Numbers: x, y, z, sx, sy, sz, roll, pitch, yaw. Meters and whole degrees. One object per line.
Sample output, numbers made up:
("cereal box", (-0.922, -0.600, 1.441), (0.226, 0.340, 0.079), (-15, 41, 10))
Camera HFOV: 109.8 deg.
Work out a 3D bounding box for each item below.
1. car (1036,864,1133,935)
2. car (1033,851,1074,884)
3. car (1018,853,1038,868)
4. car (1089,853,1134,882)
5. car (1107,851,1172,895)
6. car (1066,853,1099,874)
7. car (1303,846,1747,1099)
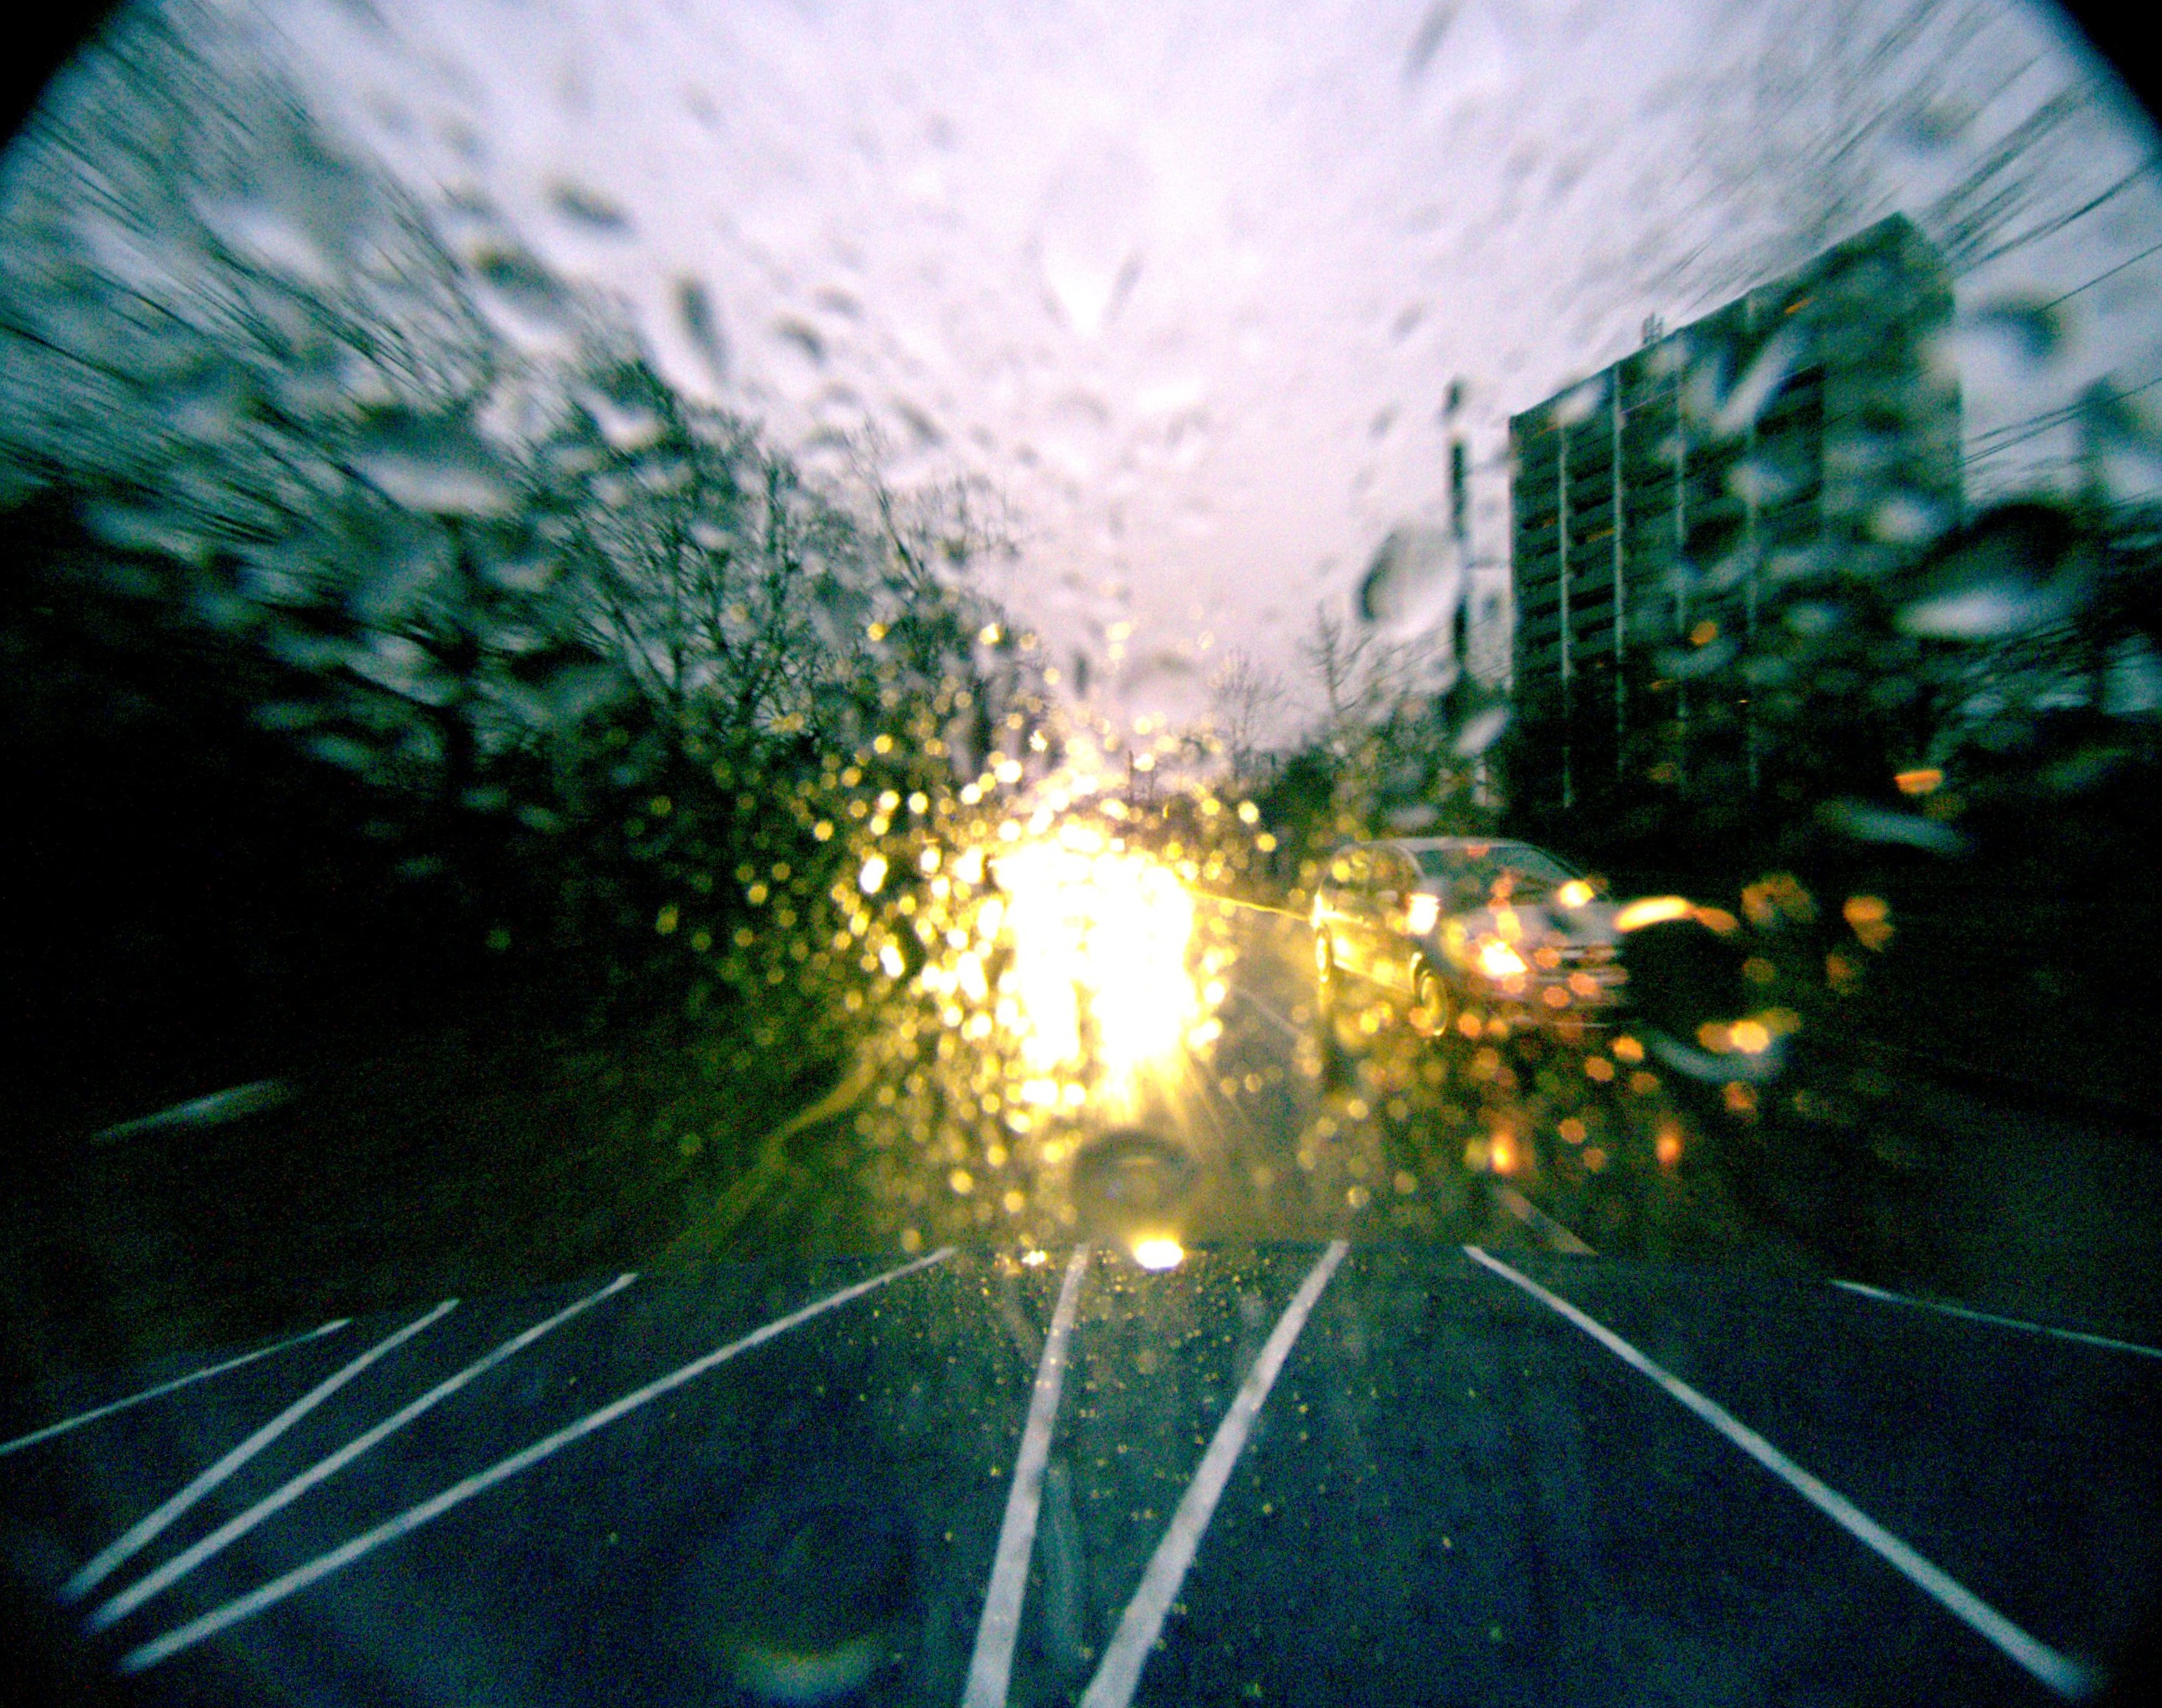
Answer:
("car", (-0.049, 0.921, 17.197), (1.897, 1.347, 4.288), (-1, 0, -3))
("car", (-1.503, 0.645, 39.733), (1.950, 1.546, 4.215), (-2, 0, -4))
("car", (-6.080, 0.746, 86.959), (1.950, 1.546, 4.214), (-3, 0, -8))
("car", (1.694, 0.769, 44.285), (1.845, 1.546, 4.214), (-3, 0, -8))
("car", (2.244, 0.688, 30.213), (1.924, 1.546, 4.215), (-2, 0, -4))
("car", (0.059, 0.770, 61.449), (1.951, 1.546, 4.213), (-3, 0, -9))
("car", (3.441, 0.756, 6.859), (1.669, 1.566, 3.922), (-2, 0, 0))
